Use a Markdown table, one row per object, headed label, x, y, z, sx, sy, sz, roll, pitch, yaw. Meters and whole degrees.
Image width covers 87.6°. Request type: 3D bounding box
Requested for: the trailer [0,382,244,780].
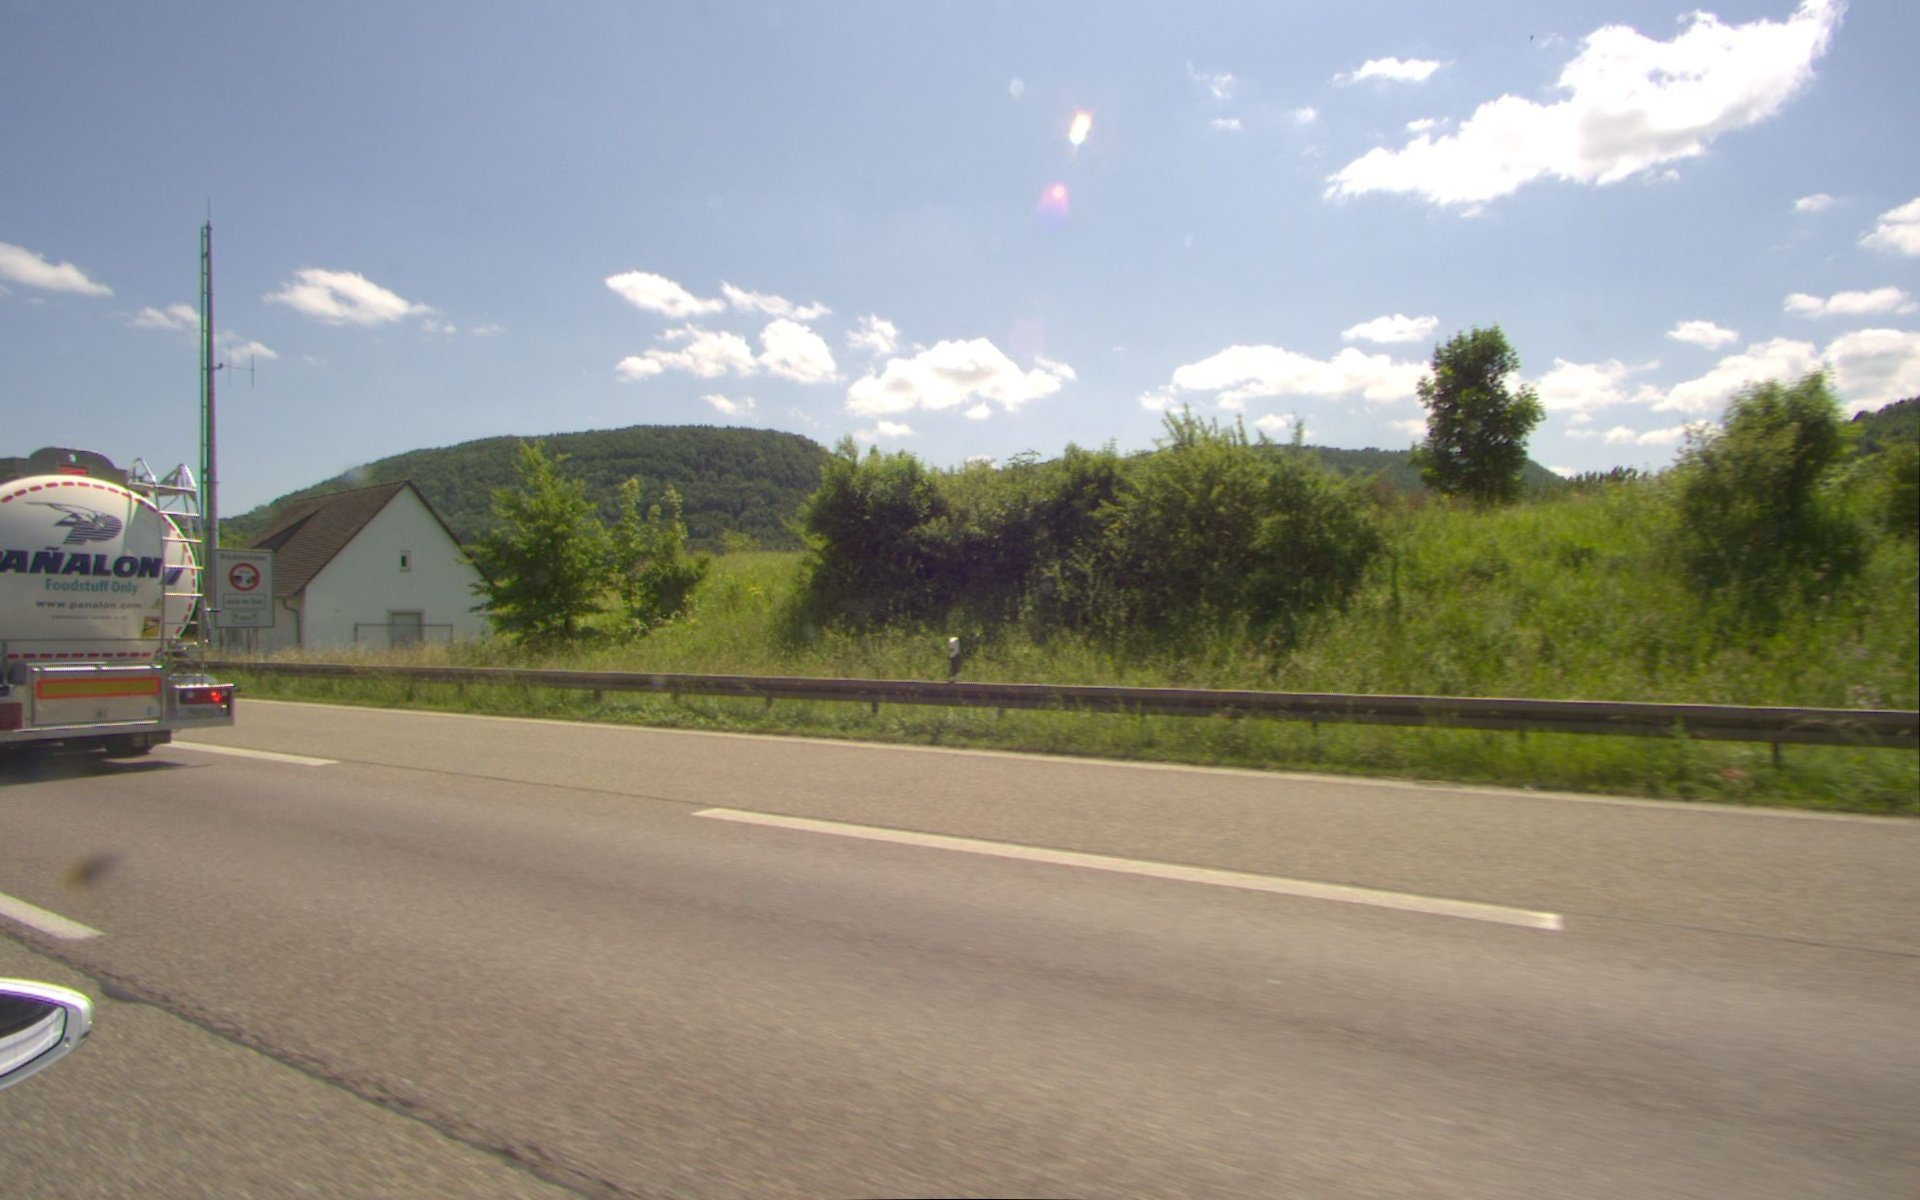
| label | x | y | z | sx | sy | sz | roll | pitch | yaw |
| --- | --- | --- | --- | --- | --- | --- | --- | --- | --- |
| trailer | -13.742 | -0.072 | 13.246 | 11.717 | 3.783 | 2.535 | -1 | -1 | 31 |
